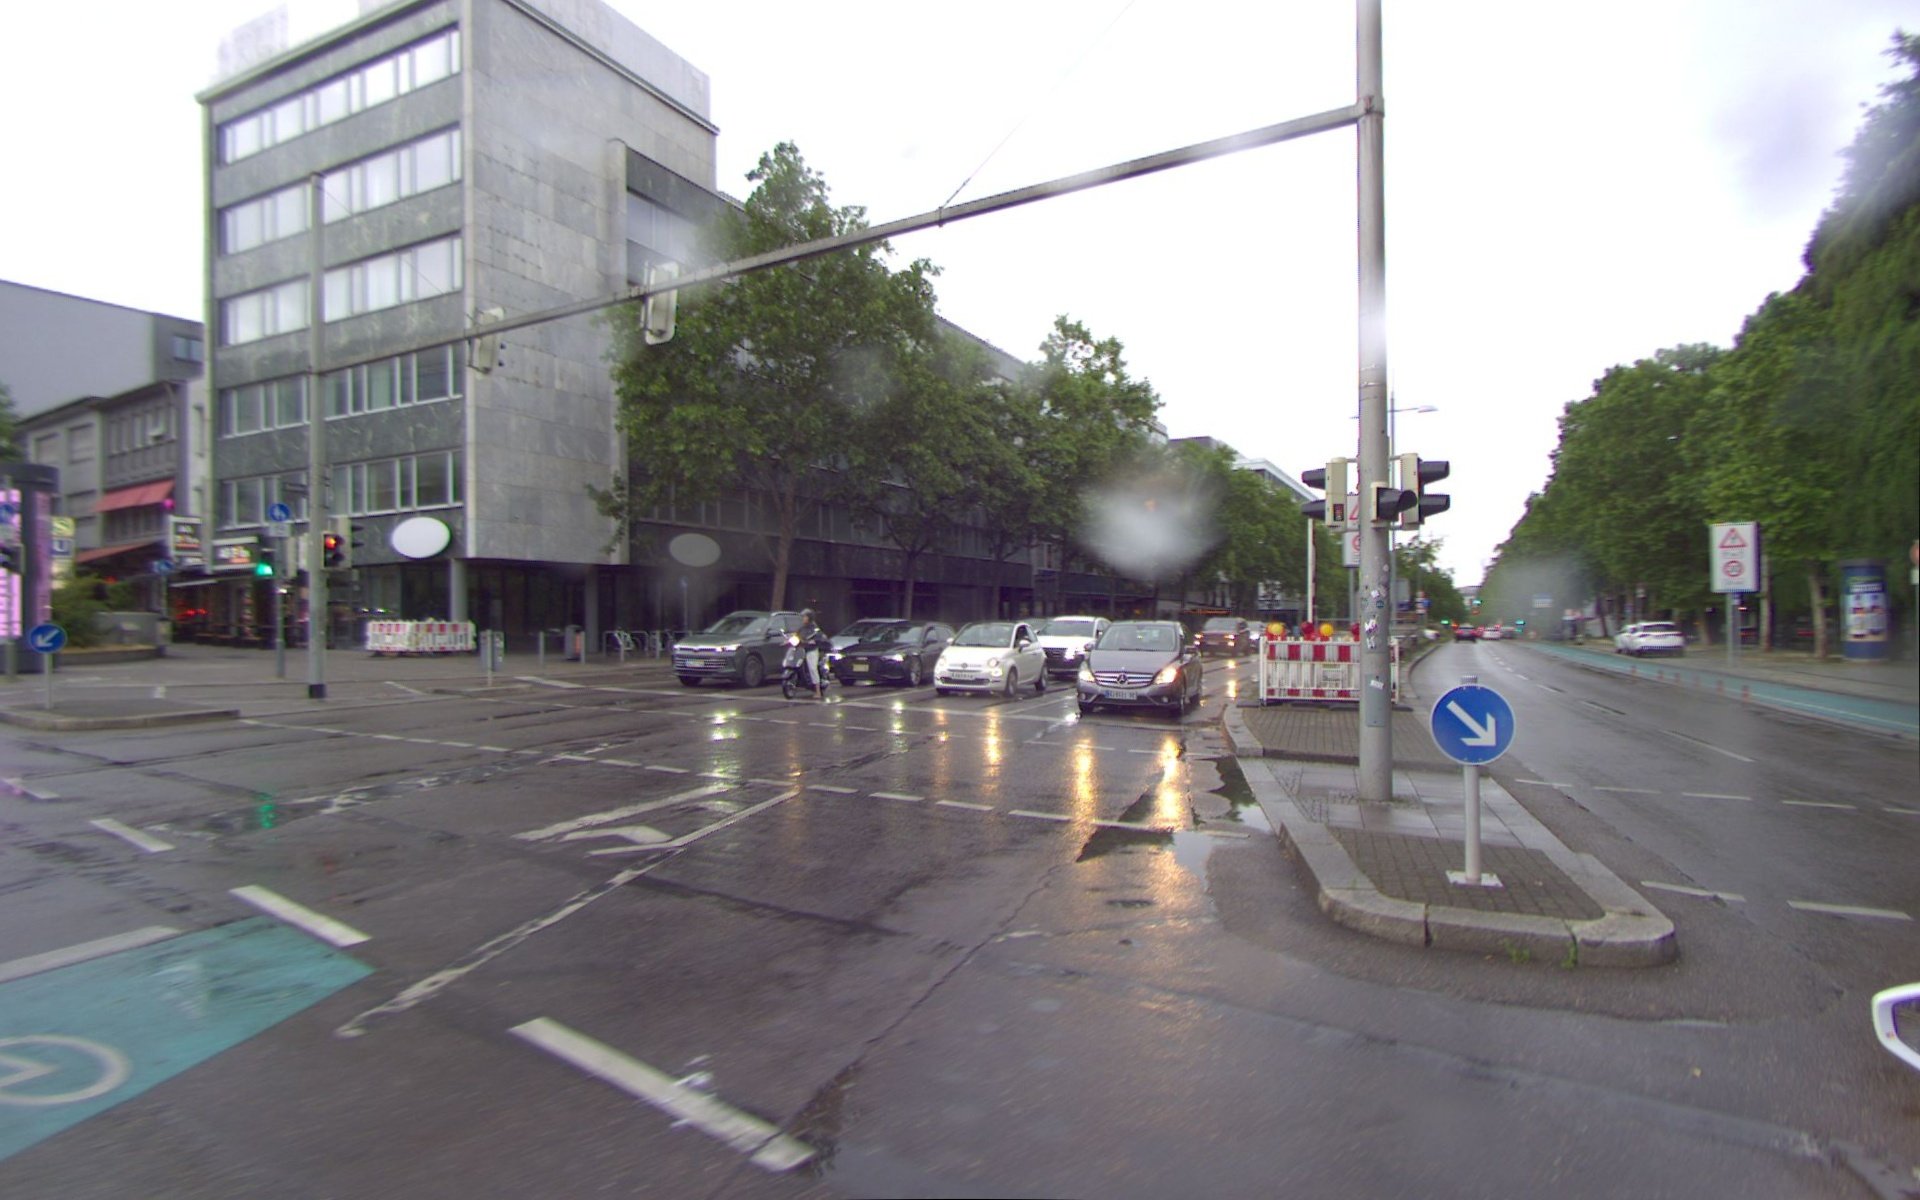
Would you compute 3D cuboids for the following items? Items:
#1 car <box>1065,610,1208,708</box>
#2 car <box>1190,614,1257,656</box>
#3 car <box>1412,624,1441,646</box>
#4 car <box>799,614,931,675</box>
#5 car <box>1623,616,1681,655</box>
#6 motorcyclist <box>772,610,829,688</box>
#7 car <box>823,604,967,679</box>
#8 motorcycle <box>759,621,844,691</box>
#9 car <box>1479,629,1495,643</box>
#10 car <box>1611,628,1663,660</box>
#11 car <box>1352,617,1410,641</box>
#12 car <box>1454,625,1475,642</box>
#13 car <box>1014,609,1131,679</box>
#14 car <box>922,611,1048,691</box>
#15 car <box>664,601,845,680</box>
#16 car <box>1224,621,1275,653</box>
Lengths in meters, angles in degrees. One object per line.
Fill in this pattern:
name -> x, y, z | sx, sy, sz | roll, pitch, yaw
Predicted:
car -> 3.250, 0.955, 17.825 | 1.813, 1.501, 4.164 | 0, -1, 20
car -> 12.153, 1.563, 46.057 | 1.808, 1.790, 5.101 | 0, -1, 28
car -> 37.479, 2.804, 80.658 | 1.963, 1.677, 4.883 | 0, -1, 27
car -> -2.705, 1.276, 29.789 | 1.961, 1.625, 4.586 | 1, -1, 23
car -> 34.780, 1.739, 50.597 | 1.816, 1.862, 5.086 | -1, -2, 28
motorcyclist -> -2.998, 0.909, 18.907 | 0.774, 1.410, 0.733 | 1, 0, 18
car -> -1.423, 0.947, 23.883 | 1.806, 1.585, 4.223 | 1, -1, 21
motorcycle -> -2.966, 1.032, 19.016 | 0.706, 1.244, 2.044 | 1, -1, 18
car -> 64.349, 4.374, 122.601 | 1.595, 1.688, 3.996 | -1, -2, 26
car -> 38.017, 2.452, 56.497 | 1.815, 1.654, 4.781 | 0, -1, 26
car -> 34.439, 2.366, 82.270 | 1.971, 1.813, 4.215 | 2, -1, -22
car -> 46.527, 3.073, 92.731 | 1.595, 1.491, 3.997 | 1, -1, 25
car -> 3.142, 1.115, 27.111 | 1.847, 1.707, 4.796 | 0, -1, 23
car -> 0.609, 0.998, 20.970 | 1.689, 1.495, 3.431 | 0, -1, 19
car -> -4.642, 0.911, 23.468 | 1.729, 1.639, 4.658 | 1, -1, 24
car -> 15.498, 1.944, 53.585 | 1.708, 1.594, 4.826 | 0, -1, 27
